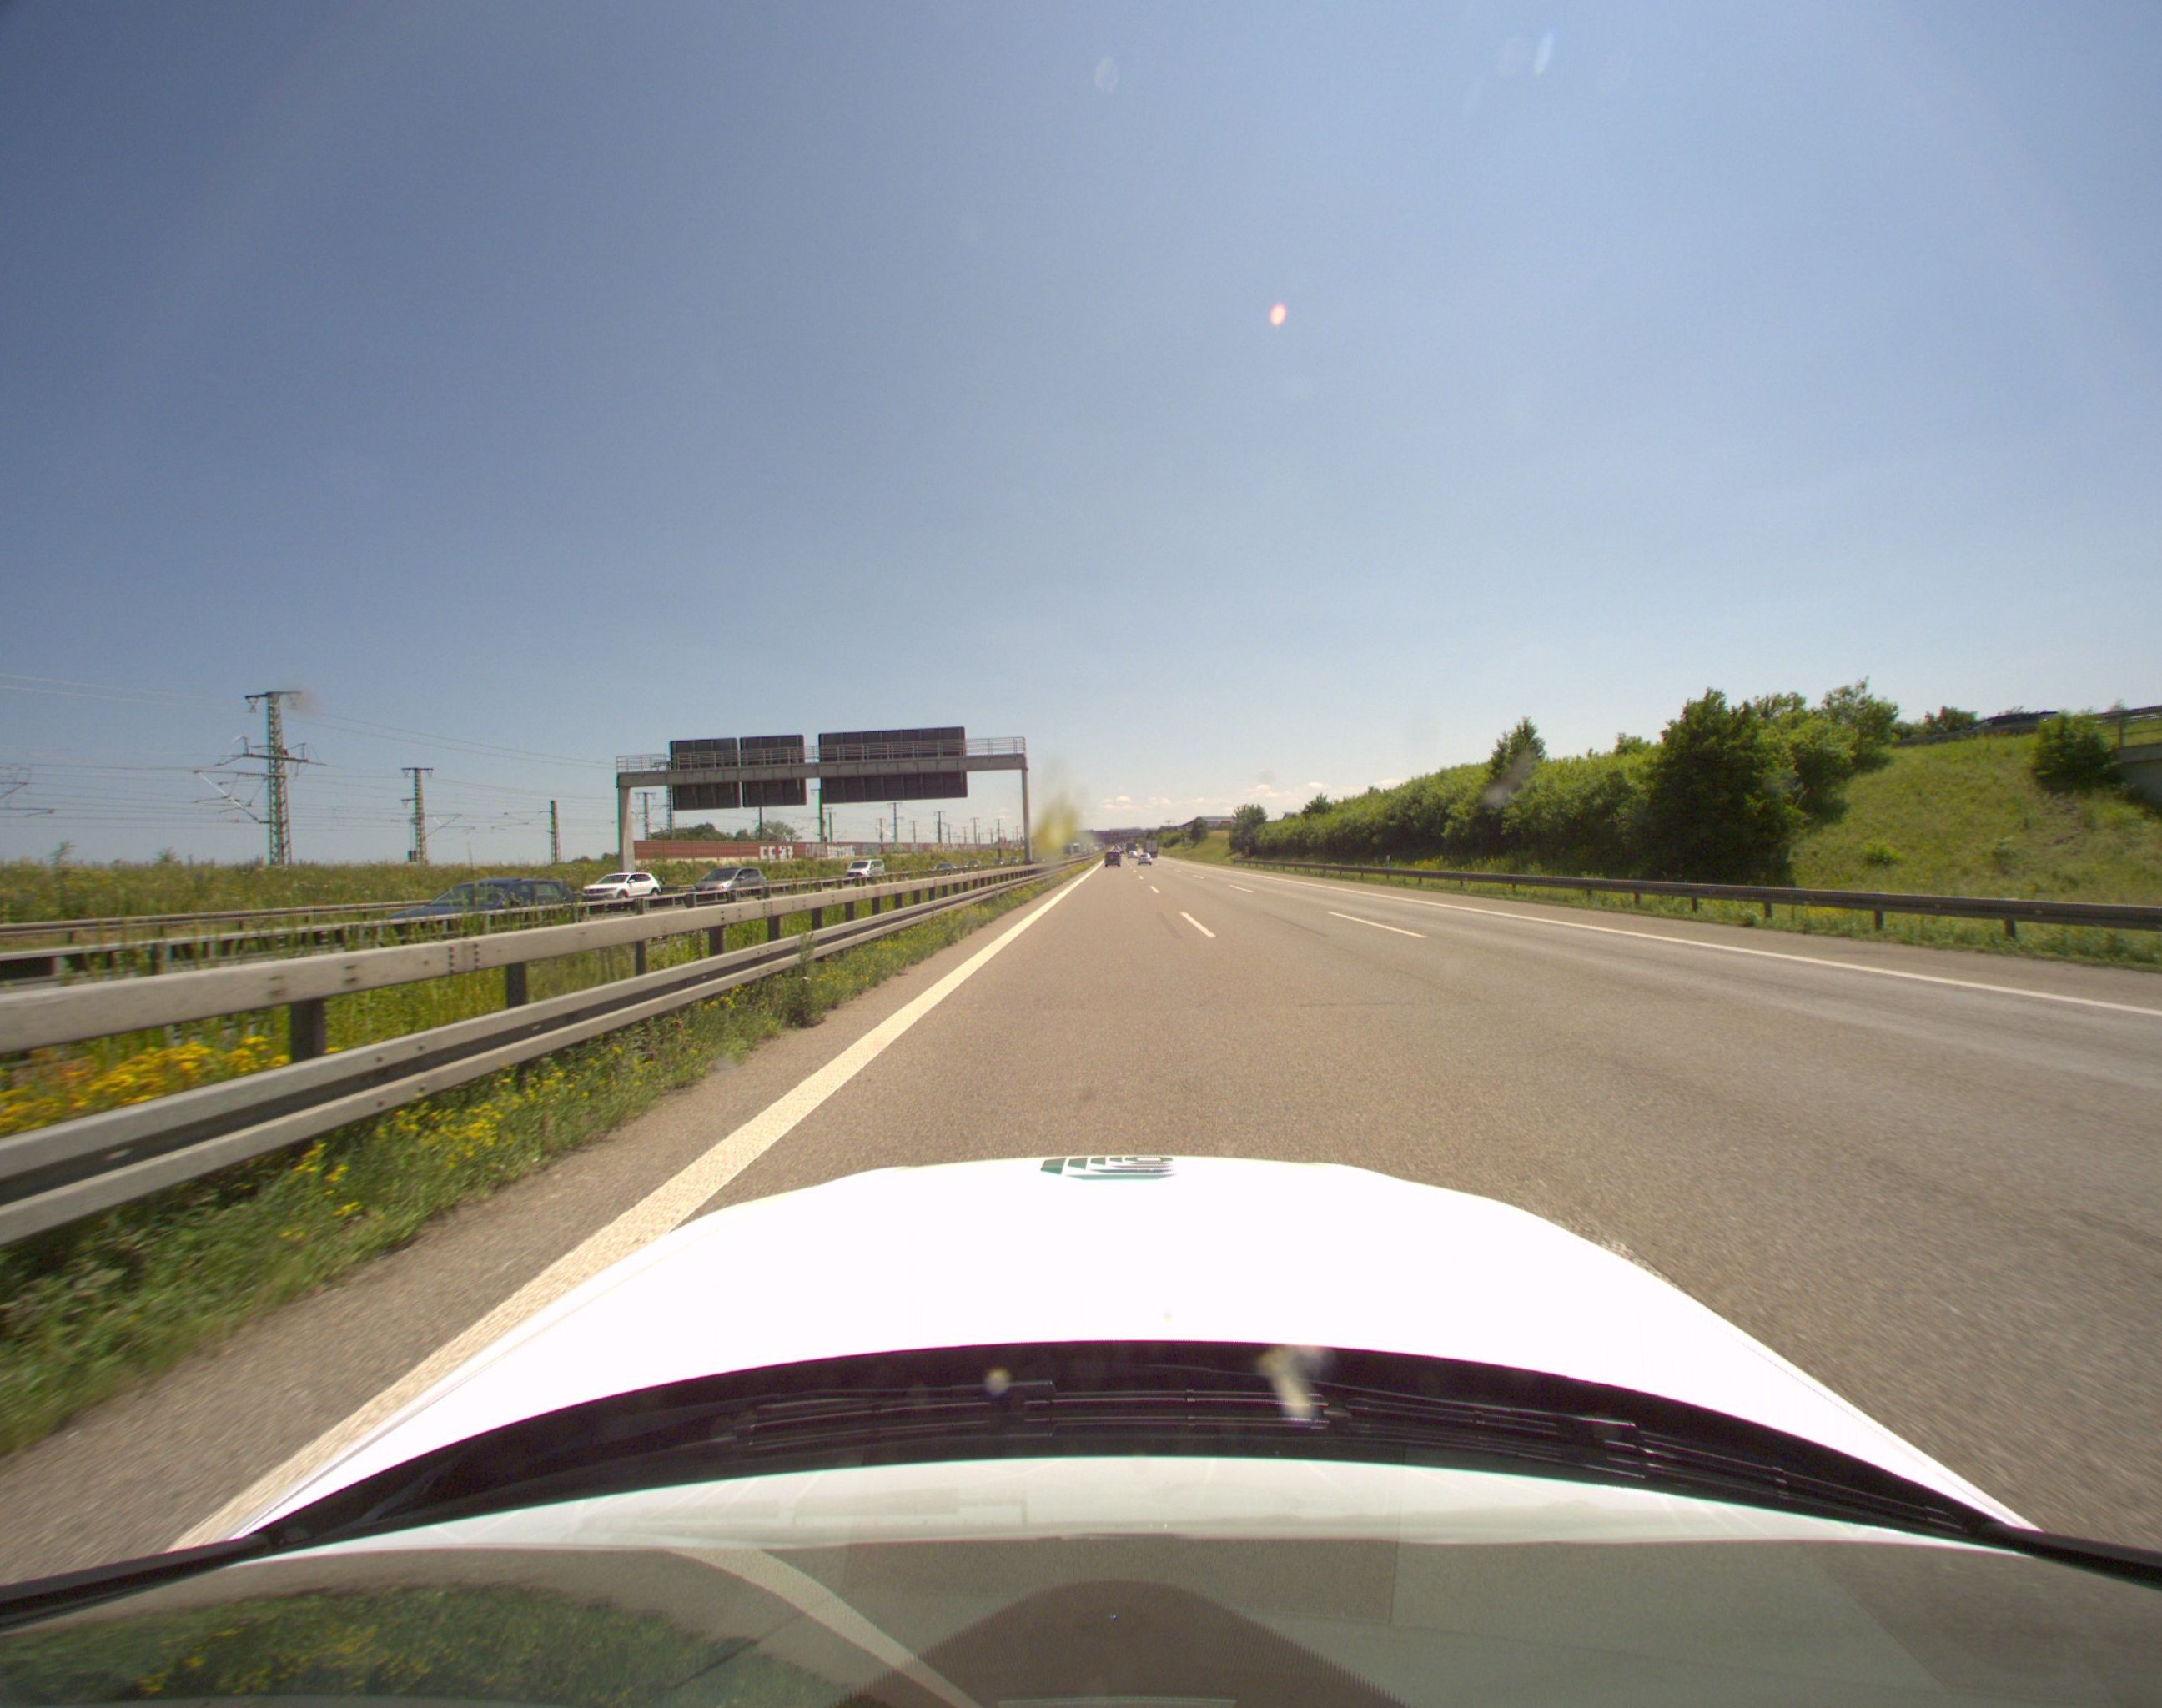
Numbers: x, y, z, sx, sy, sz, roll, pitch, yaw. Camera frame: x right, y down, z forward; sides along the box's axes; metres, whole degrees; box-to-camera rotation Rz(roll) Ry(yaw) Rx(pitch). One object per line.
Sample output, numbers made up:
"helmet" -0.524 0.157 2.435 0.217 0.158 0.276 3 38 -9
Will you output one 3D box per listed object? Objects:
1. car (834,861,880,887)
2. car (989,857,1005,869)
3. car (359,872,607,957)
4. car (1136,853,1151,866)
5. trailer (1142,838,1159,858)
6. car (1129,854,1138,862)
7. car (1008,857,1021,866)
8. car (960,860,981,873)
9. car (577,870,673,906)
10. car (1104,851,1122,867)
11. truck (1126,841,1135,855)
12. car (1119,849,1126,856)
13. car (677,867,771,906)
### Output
"car" -18.130 1.589 66.109 1.985 1.886 4.982 -1 0 4
"car" -14.066 1.514 136.968 1.985 2.014 4.312 0 -1 3
"car" -12.517 1.191 17.505 1.922 1.483 4.478 -1 0 1
"car" 8.036 0.680 104.017 1.872 1.526 4.006 -1 0 5
"trailer" 15.216 -1.321 178.358 3.165 4.059 9.446 -2 0 3
"car" 10.867 0.777 169.735 1.873 1.526 4.004 -1 0 3
"car" -13.051 1.441 160.012 1.985 1.726 4.516 -1 0 2
"car" -15.545 1.696 114.864 1.985 1.726 4.517 -1 0 3
"car" -22.143 1.601 39.787 1.985 1.576 4.480 -1 0 3
"car" 3.644 0.559 92.622 1.873 1.775 4.003 -2 0 3
"truck" 12.948 -1.604 214.267 2.346 3.416 6.061 -1 0 3
"car" 12.472 -0.552 246.291 1.986 2.013 4.002 -1 0 2
"car" -15.752 1.392 36.212 1.985 1.576 4.480 -1 0 3
